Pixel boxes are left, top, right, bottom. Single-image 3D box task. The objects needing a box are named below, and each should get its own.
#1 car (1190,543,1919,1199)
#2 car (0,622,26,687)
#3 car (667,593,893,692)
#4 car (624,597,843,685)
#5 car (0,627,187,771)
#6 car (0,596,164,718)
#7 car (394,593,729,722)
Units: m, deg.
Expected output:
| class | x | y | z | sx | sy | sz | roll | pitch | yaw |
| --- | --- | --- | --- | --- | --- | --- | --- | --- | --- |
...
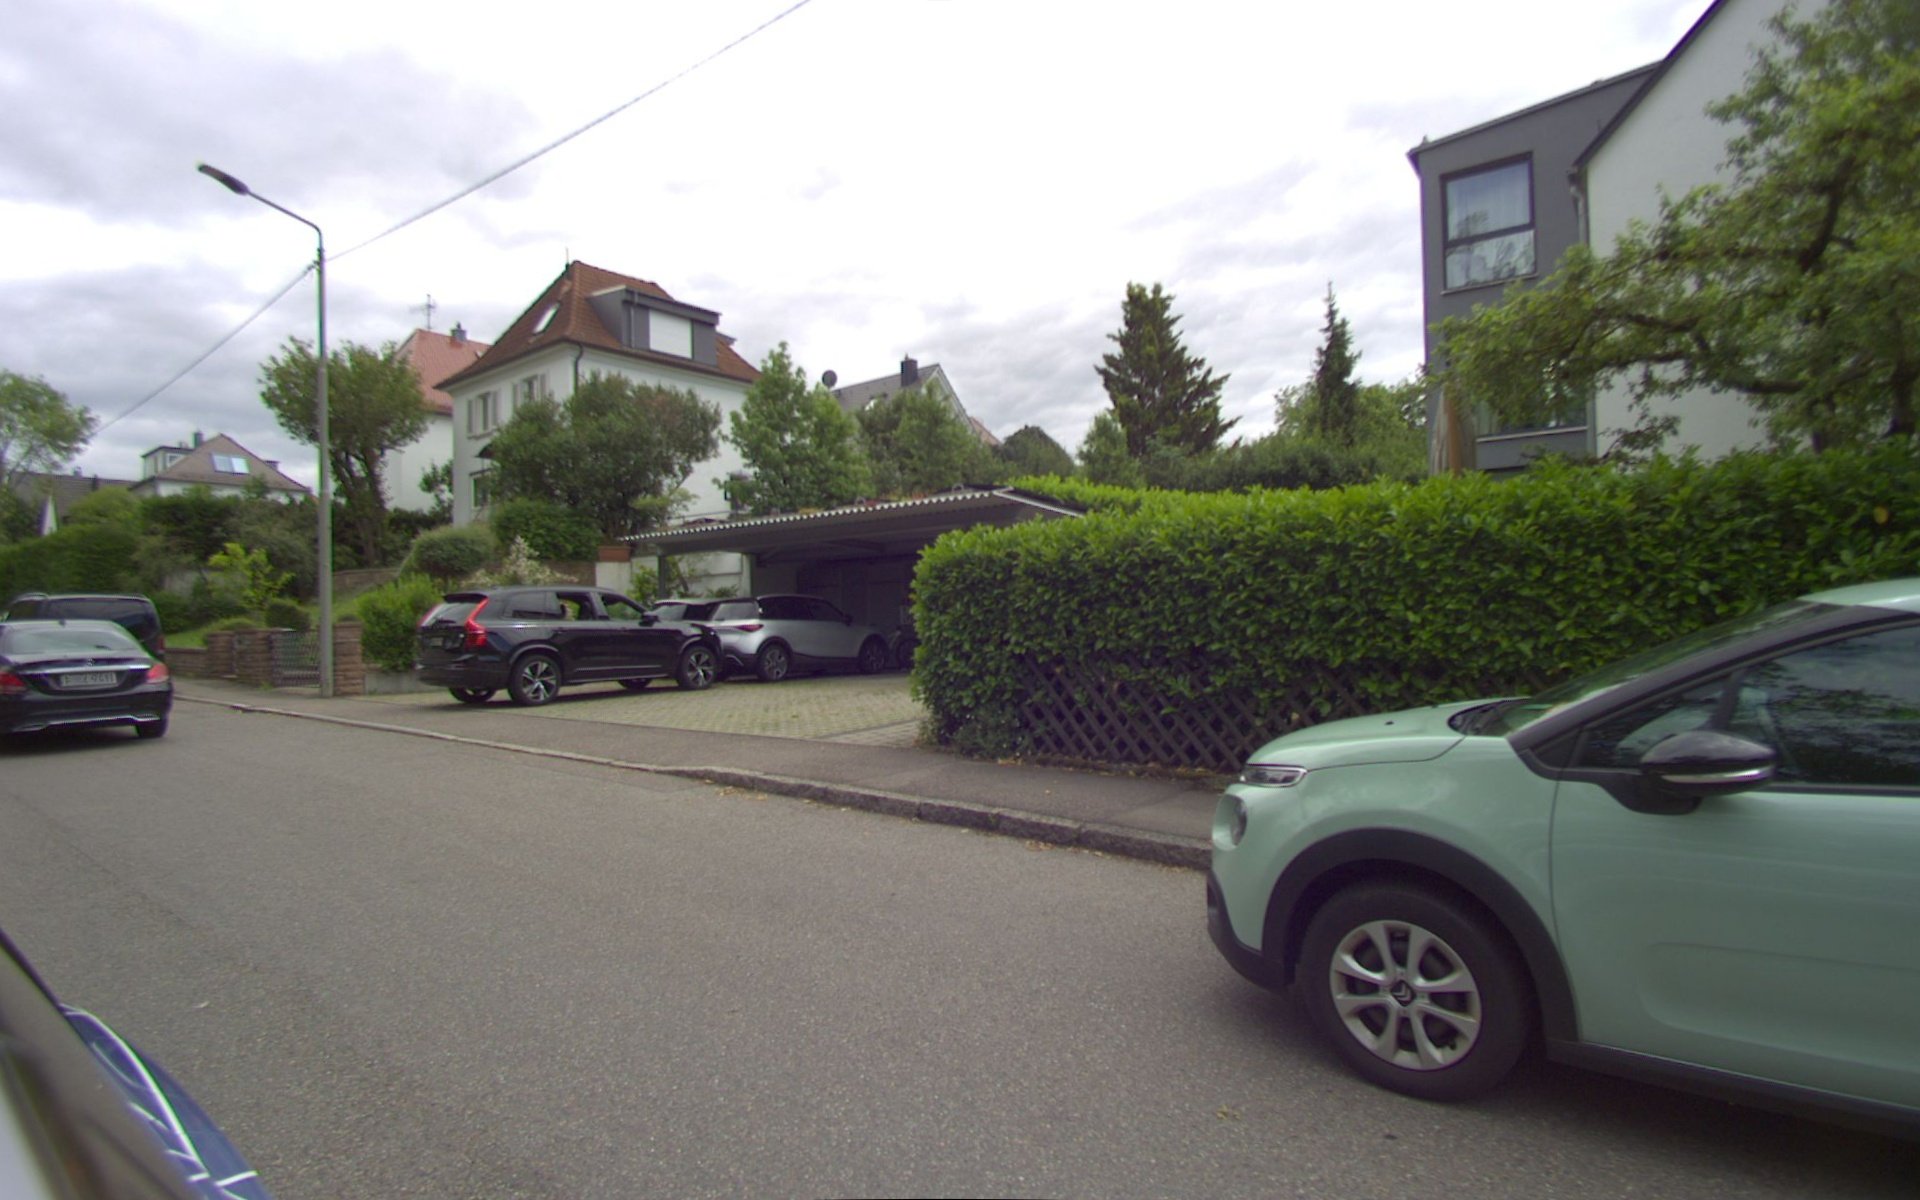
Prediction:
| class | x | y | z | sx | sy | sz | roll | pitch | yaw |
| --- | --- | --- | --- | --- | --- | --- | --- | --- | --- |
| car | 2.836 | 0.622 | 2.604 | 4.012 | 1.511 | 1.765 | -1 | 0 | 40 |
| car | -26.529 | 1.402 | 26.879 | 4.179 | 1.661 | 1.821 | -1 | -3 | 38 |
| car | -3.413 | 0.815 | 19.807 | 1.997 | 1.710 | 4.084 | -4 | -3 | 37 |
| car | -4.872 | 0.875 | 22.388 | 1.995 | 1.710 | 4.576 | -4 | -3 | 35 |
| car | -11.208 | 1.069 | 12.278 | 4.586 | 1.425 | 1.845 | -1 | 0 | 38 |
| car | -16.448 | 0.957 | 18.506 | 5.031 | 1.941 | 1.845 | -1 | 0 | 38 |
| car | -6.048 | 0.806 | 15.888 | 1.995 | 1.710 | 4.576 | -1 | -1 | 35 |
